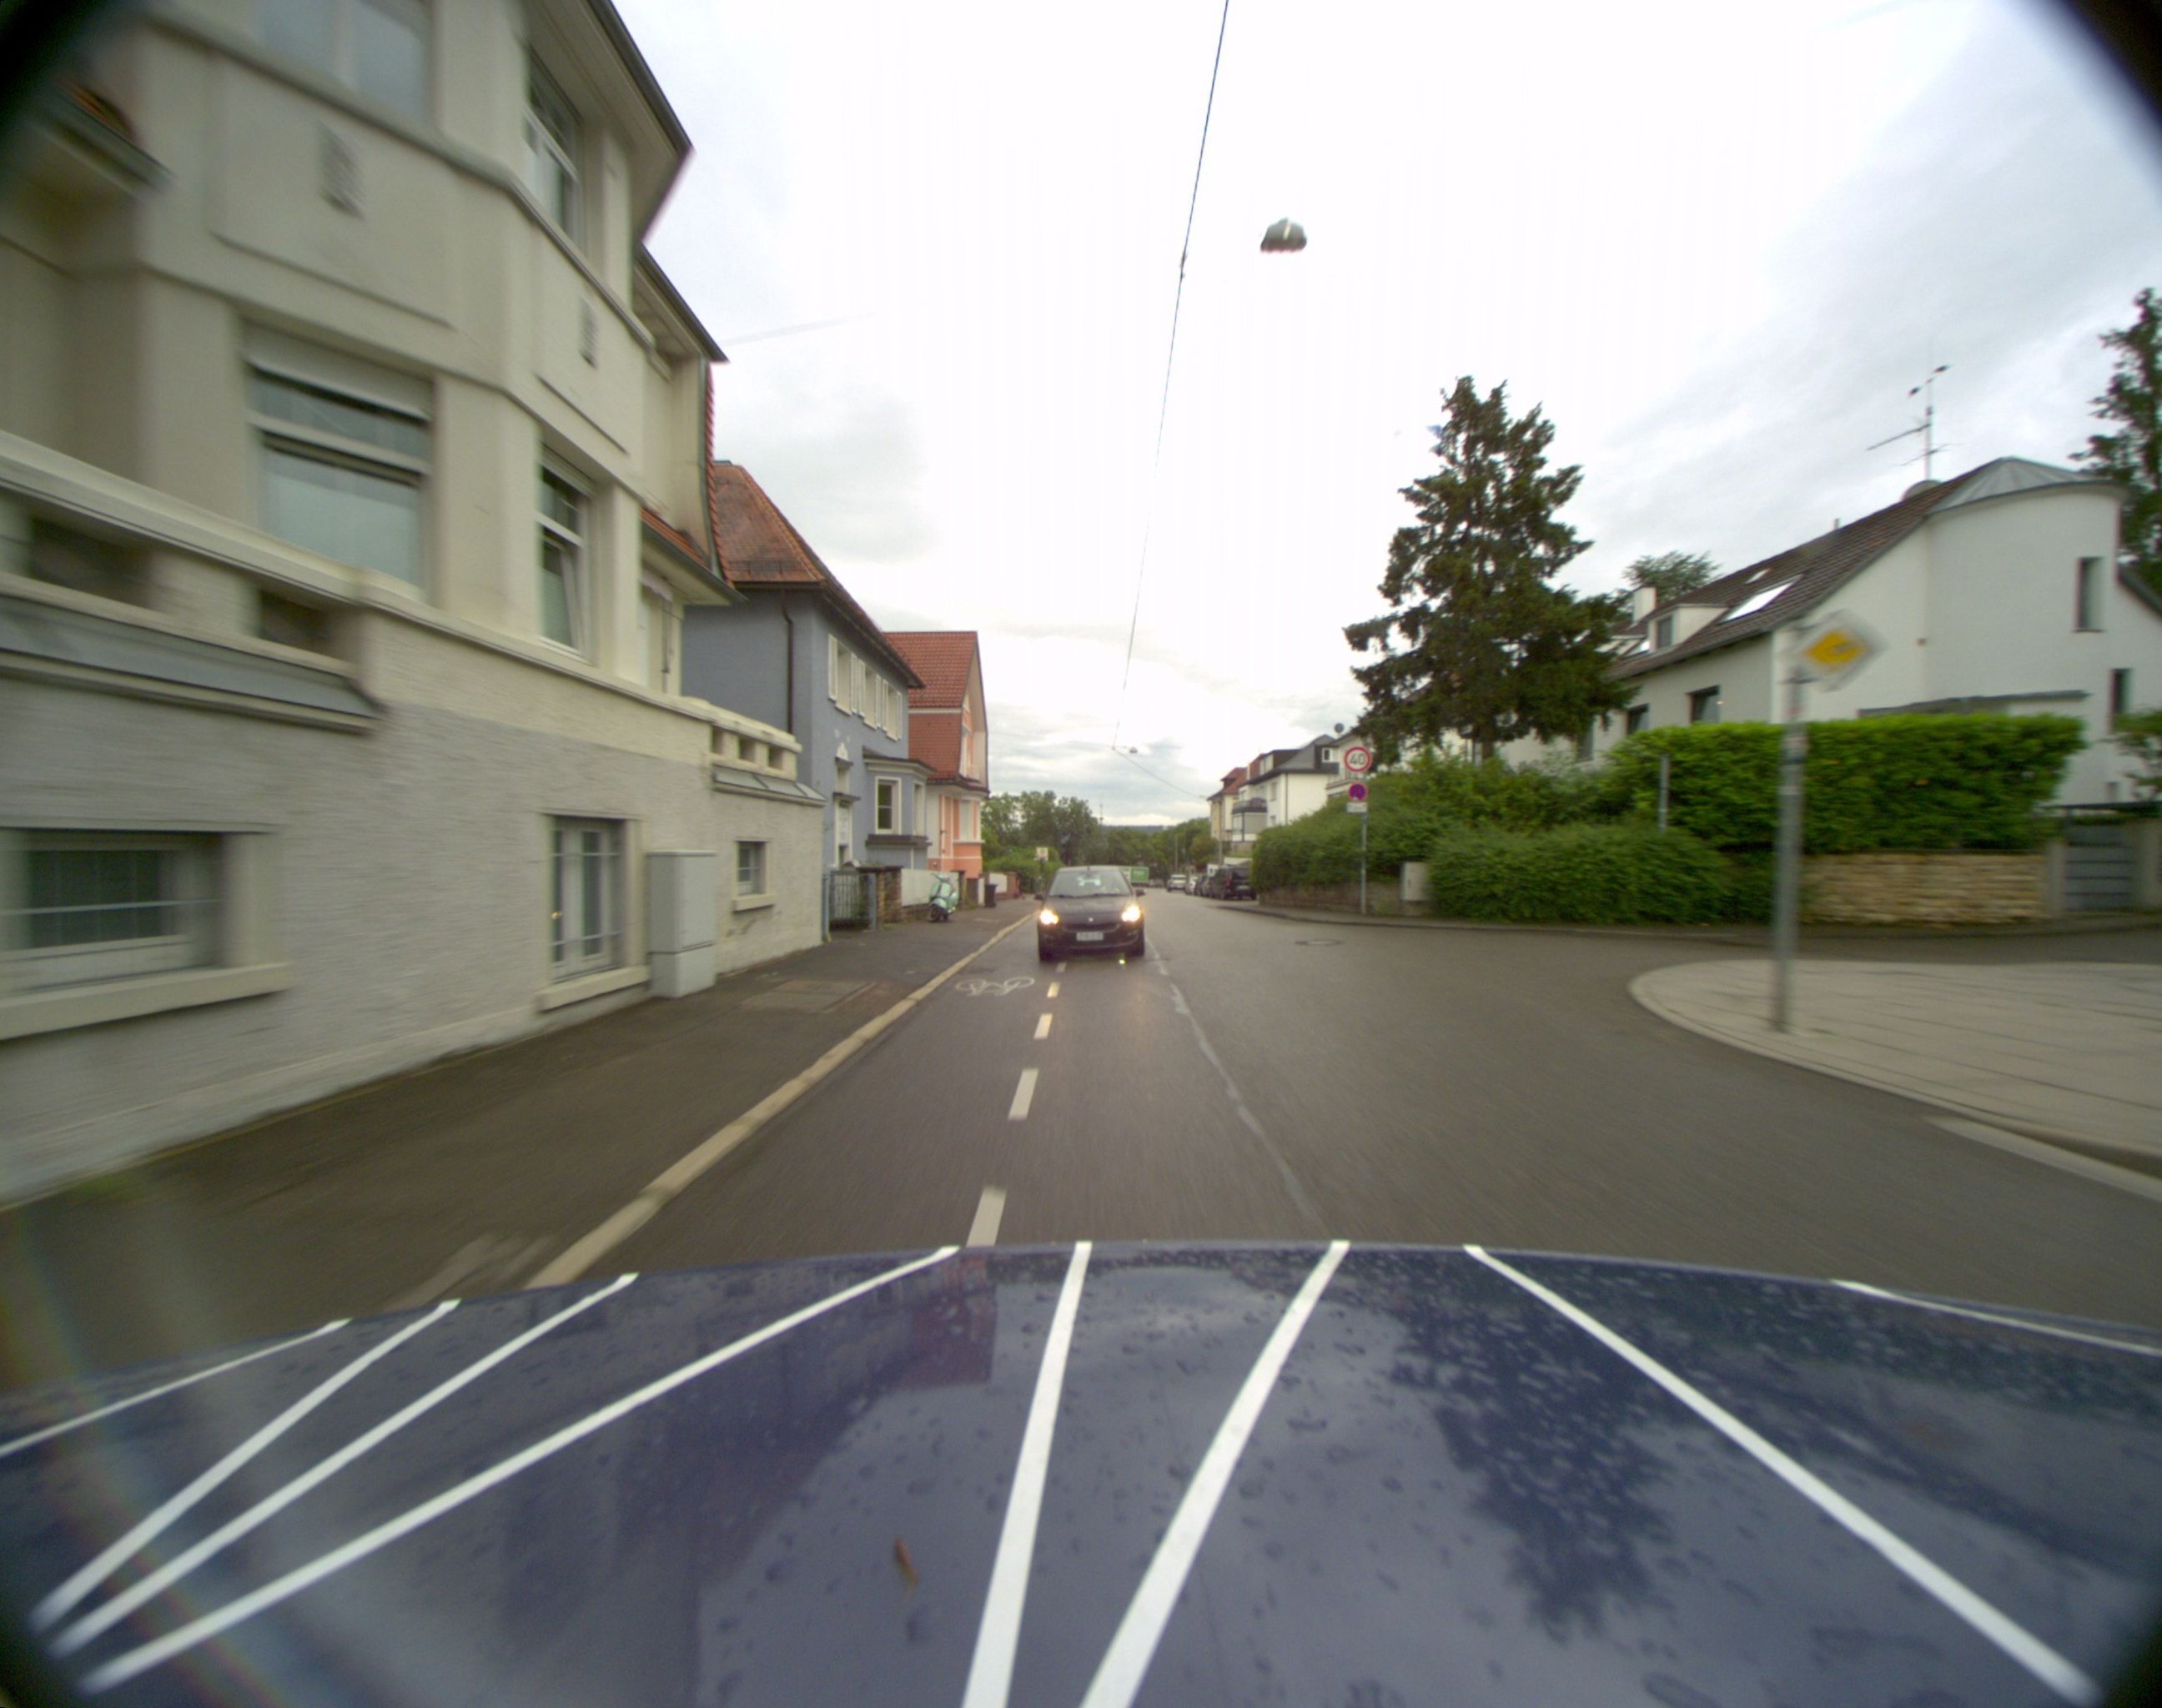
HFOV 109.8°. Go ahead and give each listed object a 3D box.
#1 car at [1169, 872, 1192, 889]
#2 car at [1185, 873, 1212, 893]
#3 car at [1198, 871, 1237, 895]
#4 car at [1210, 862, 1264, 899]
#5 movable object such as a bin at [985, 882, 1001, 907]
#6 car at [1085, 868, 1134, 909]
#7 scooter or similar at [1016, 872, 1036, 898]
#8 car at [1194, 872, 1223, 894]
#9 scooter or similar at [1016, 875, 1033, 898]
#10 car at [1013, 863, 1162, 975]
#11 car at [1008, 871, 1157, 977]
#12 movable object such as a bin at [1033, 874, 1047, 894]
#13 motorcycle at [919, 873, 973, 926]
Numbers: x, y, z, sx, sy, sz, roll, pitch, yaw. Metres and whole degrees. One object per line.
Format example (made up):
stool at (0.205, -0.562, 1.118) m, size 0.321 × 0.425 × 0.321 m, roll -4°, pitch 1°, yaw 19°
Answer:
car at (9.272, 2.502, 71.327) m, size 1.868 × 1.491 × 4.002 m, roll -1°, pitch -1°, yaw 4°
car at (9.060, 2.215, 58.675) m, size 1.594 × 1.482 × 3.439 m, roll -2°, pitch -2°, yaw 2°
car at (8.829, 1.882, 49.519) m, size 1.696 × 1.482 × 4.404 m, roll -2°, pitch -2°, yaw 0°
car at (8.857, 1.515, 43.546) m, size 1.999 × 1.945 × 4.775 m, roll -2°, pitch -2°, yaw -1°
movable object such as a bin at (-3.365, 1.563, 29.187) m, size 0.533 × 0.913 × 0.488 m, roll 2°, pitch -1°, yaw -1°
car at (1.167, 1.416, 32.035) m, size 1.928 × 1.577 × 4.001 m, roll -1°, pitch -1°, yaw 1°
scooter or similar at (-2.950, 1.652, 40.920) m, size 0.355 × 1.394 × 1.481 m, roll -1°, pitch -1°, yaw 26°
car at (8.995, 2.031, 53.798) m, size 1.521 × 1.482 × 2.895 m, roll -2°, pitch -2°, yaw 1°
scooter or similar at (-3.293, 1.891, 44.014) m, size 0.357 × 1.265 × 1.290 m, roll 0°, pitch 1°, yaw -37°
car at (0.284, 0.941, 12.296) m, size 1.695 × 1.482 × 3.944 m, roll -2°, pitch -2°, yaw 11°
car at (0.200, 0.997, 12.306) m, size 1.710 × 1.413 × 4.004 m, roll -1°, pitch -1°, yaw 10°
movable object such as a bin at (-2.643, 1.920, 49.092) m, size 0.726 × 1.238 × 0.917 m, roll 3°, pitch -1°, yaw 5°
motorcycle at (-3.402, 1.122, 19.410) m, size 0.694 × 1.219 × 2.154 m, roll 6°, pitch 0°, yaw 5°
